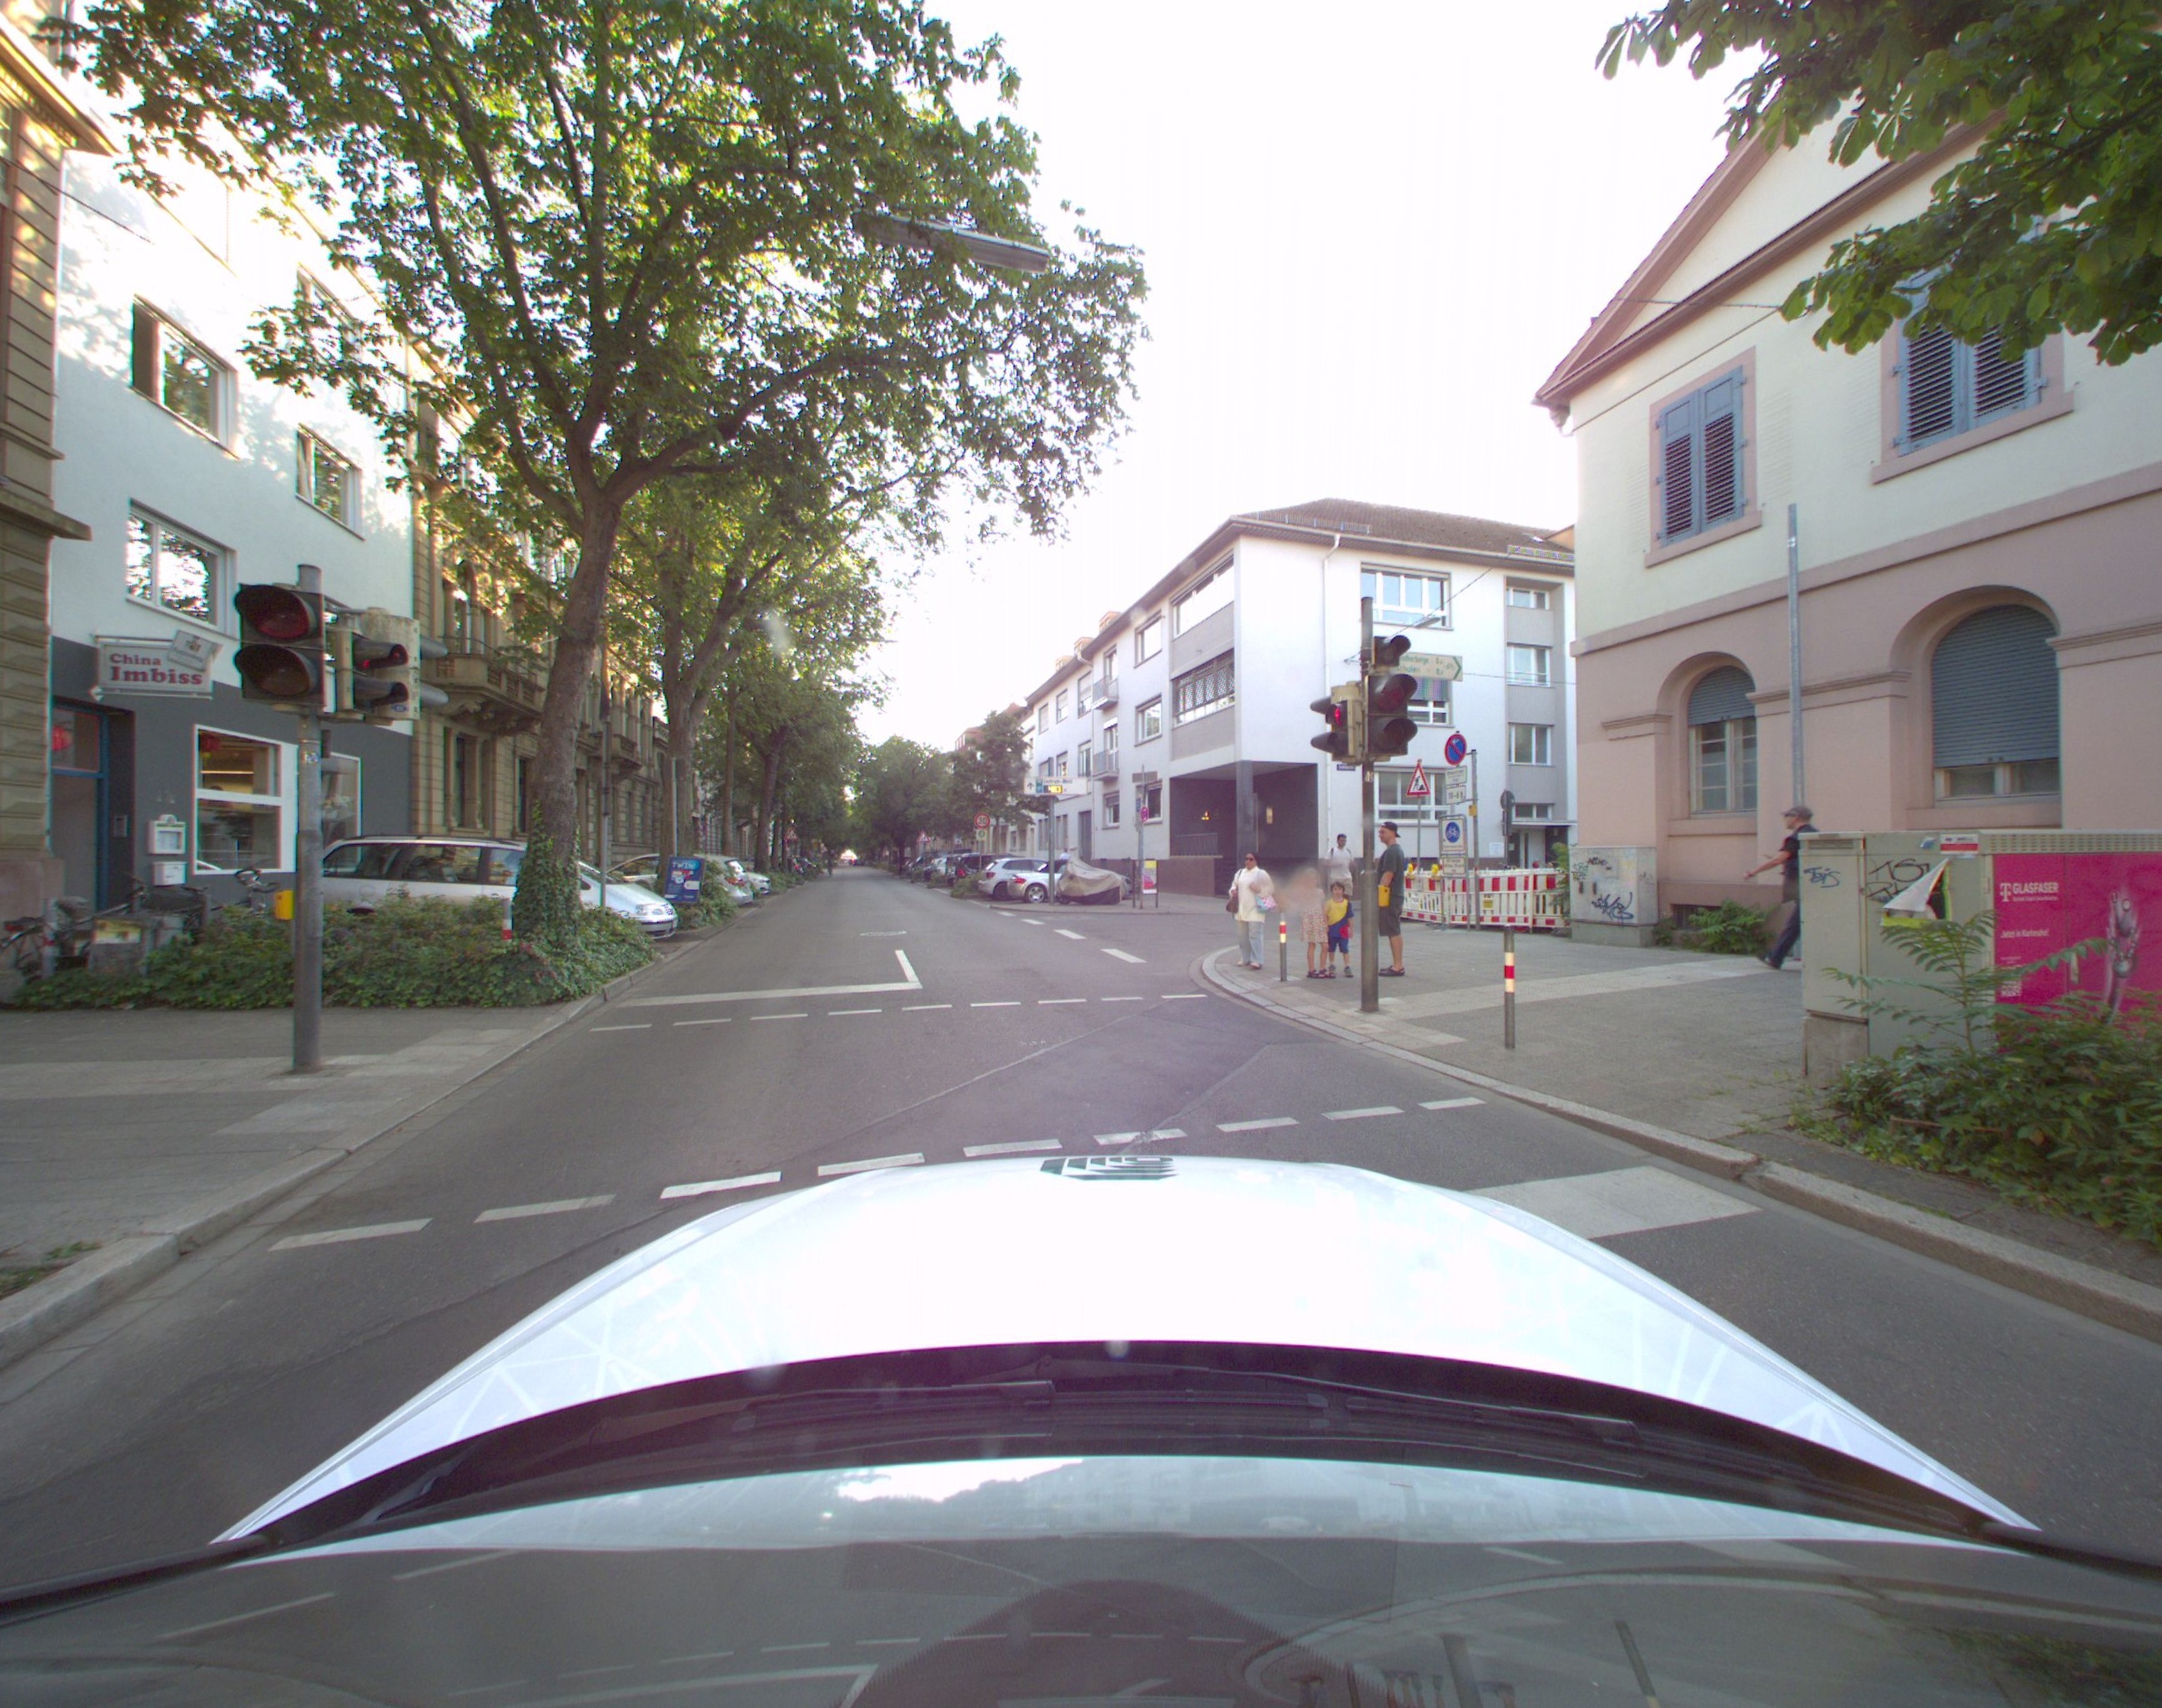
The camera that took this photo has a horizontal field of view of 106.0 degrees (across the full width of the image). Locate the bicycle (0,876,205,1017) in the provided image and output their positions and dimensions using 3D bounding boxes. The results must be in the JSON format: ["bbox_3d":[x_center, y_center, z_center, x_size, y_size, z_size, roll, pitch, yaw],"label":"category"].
[{"bbox_3d":[-9.108,0.782,7.527,0.500,1.108,1.789,3,-1,-17],"label":"bicycle"}]

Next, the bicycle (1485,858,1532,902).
[{"bbox_3d":[12.495,0.741,23.772,1.804,1.239,0.527,0,0,-39],"label":"bicycle"}]

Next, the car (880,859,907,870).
[{"bbox_3d":[-26.888,1.509,116.704,3.494,1.452,1.887,-2,0,-19],"label":"car"}]

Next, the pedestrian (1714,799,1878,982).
[{"bbox_3d":[7.563,0.353,8.659,0.698,1.795,1.060,-2,0,-15],"label":"pedestrian"}]

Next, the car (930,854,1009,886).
[{"bbox_3d":[-6.177,0.877,45.073,4.081,1.429,1.809,-4,0,-15],"label":"car"}]

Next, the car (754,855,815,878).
[{"bbox_3d":[-22.779,0.960,62.728,4.210,1.672,1.897,1,0,-17],"label":"car"}]

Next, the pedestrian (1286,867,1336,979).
[{"bbox_3d":[2.689,0.796,9.560,0.485,1.261,0.453,-2,0,11],"label":"pedestrian"}]

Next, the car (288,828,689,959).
[{"bbox_3d":[-8.512,0.592,12.258,4.437,1.722,1.879,2,-1,-19],"label":"car"}]

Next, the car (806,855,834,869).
[{"bbox_3d":[-47.193,1.488,147.222,4.693,2.478,1.989,0,-1,-17],"label":"car"}]

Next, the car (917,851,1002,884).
[{"bbox_3d":[-7.074,0.768,47.374,4.603,1.578,1.932,-4,0,-18],"label":"car"}]

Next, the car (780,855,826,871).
[{"bbox_3d":[-29.286,0.949,85.927,4.434,1.651,1.863,1,0,-16],"label":"car"}]

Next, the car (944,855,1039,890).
[{"bbox_3d":[-4.379,0.872,39.674,4.326,1.496,1.783,-2,0,-18],"label":"car"}]

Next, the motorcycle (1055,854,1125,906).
[{"bbox_3d":[0.243,0.723,23.032,1.903,1.392,0.998,-1,-1,-4],"label":"motorcycle"}]

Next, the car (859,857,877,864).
[{"bbox_3d":[-55.135,1.720,210.739,4.278,1.565,1.952,-2,-1,-17],"label":"car"}]

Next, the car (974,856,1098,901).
[{"bbox_3d":[-1.581,0.820,28.213,3.995,1.437,1.784,0,0,-16],"label":"car"}]

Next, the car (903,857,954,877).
[{"bbox_3d":[-12.989,1.080,69.334,3.998,1.437,1.915,-4,0,-18],"label":"car"}]

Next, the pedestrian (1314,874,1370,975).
[{"bbox_3d":[3.124,0.837,9.780,0.540,1.145,0.495,-2,0,11],"label":"pedestrian"}]

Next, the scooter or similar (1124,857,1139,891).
[{"bbox_3d":[1.922,0.741,30.967,0.345,1.239,1.417,0,0,-6],"label":"scooter or similar"}]

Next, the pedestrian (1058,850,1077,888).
[{"bbox_3d":[-0.661,0.703,39.033,0.698,1.795,0.876,-1,0,-16],"label":"pedestrian"}]

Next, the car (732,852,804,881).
[{"bbox_3d":[-19.465,0.789,50.784,3.973,1.597,1.771,4,-2,-17],"label":"car"}]

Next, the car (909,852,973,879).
[{"bbox_3d":[-9.865,0.828,57.358,4.167,1.578,1.958,-4,0,-18],"label":"car"}]

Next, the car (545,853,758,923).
[{"bbox_3d":[-10.138,0.772,19.584,4.176,1.557,1.818,0,-1,-14],"label":"car"}]

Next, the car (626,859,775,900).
[{"bbox_3d":[-13.524,0.885,29.236,4.520,1.390,1.907,0,-1,-15],"label":"car"}]

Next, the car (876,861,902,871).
[{"bbox_3d":[-30.410,1.836,129.025,3.889,1.440,1.835,-2,0,-20],"label":"car"}]

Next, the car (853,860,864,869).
[{"bbox_3d":[-42.187,2.034,154.135,1.961,1.565,4.258,-2,-1,-16],"label":"car"}]

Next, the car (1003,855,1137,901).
[{"bbox_3d":[-0.379,0.728,25.846,3.992,1.333,1.786,0,0,-14],"label":"car"}]

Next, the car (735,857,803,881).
[{"bbox_3d":[-20.524,0.973,53.723,3.972,1.387,1.755,3,-1,-16],"label":"car"}]

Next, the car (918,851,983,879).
[{"bbox_3d":[-8.715,0.699,54.316,3.976,1.578,1.840,-4,0,-18],"label":"car"}]

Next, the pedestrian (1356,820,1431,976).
[{"bbox_3d":[3.722,0.503,9.719,0.544,1.774,0.573,-2,0,-15],"label":"pedestrian"}]

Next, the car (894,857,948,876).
[{"bbox_3d":[-14.024,1.083,71.464,4.414,1.393,1.874,-4,0,-19],"label":"car"}]

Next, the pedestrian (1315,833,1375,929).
[{"bbox_3d":[5.352,0.525,16.564,0.697,1.855,1.045,-2,0,-11],"label":"pedestrian"}]

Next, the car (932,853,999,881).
[{"bbox_3d":[-7.092,0.769,50.064,3.803,1.423,1.687,-4,0,-18],"label":"car"}]

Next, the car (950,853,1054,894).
[{"bbox_3d":[-3.346,0.792,34.301,4.118,1.617,1.950,0,0,-16],"label":"car"}]

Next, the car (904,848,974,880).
[{"bbox_3d":[-10.421,0.706,59.683,4.701,2.011,2.025,-4,0,-17],"label":"car"}]

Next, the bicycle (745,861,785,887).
[{"bbox_3d":[-15.511,0.980,40.031,1.772,1.232,0.498,0,-2,-12],"label":"bicycle"}]

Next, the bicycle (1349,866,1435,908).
[{"bbox_3d":[8.085,0.859,21.209,1.962,1.030,0.674,2,-2,2],"label":"bicycle"}]

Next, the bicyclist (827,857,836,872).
[{"bbox_3d":[-21.335,0.917,69.661,0.673,1.263,0.644,-1,0,-16],"label":"bicyclist"}]

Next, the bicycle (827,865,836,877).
[{"bbox_3d":[-21.330,1.409,69.646,0.673,0.993,1.749,-1,0,-16],"label":"bicycle"}]

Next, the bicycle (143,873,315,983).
[{"bbox_3d":[-9.675,0.793,9.345,0.500,1.108,1.789,3,-1,-17],"label":"bicycle"}]

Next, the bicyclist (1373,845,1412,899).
[{"bbox_3d":[8.104,0.468,21.217,0.771,1.364,0.674,2,-2,2],"label":"bicyclist"}]

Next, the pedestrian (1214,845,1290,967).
[{"bbox_3d":[2.234,0.656,10.644,0.711,1.511,0.603,-2,0,45],"label":"pedestrian"}]
